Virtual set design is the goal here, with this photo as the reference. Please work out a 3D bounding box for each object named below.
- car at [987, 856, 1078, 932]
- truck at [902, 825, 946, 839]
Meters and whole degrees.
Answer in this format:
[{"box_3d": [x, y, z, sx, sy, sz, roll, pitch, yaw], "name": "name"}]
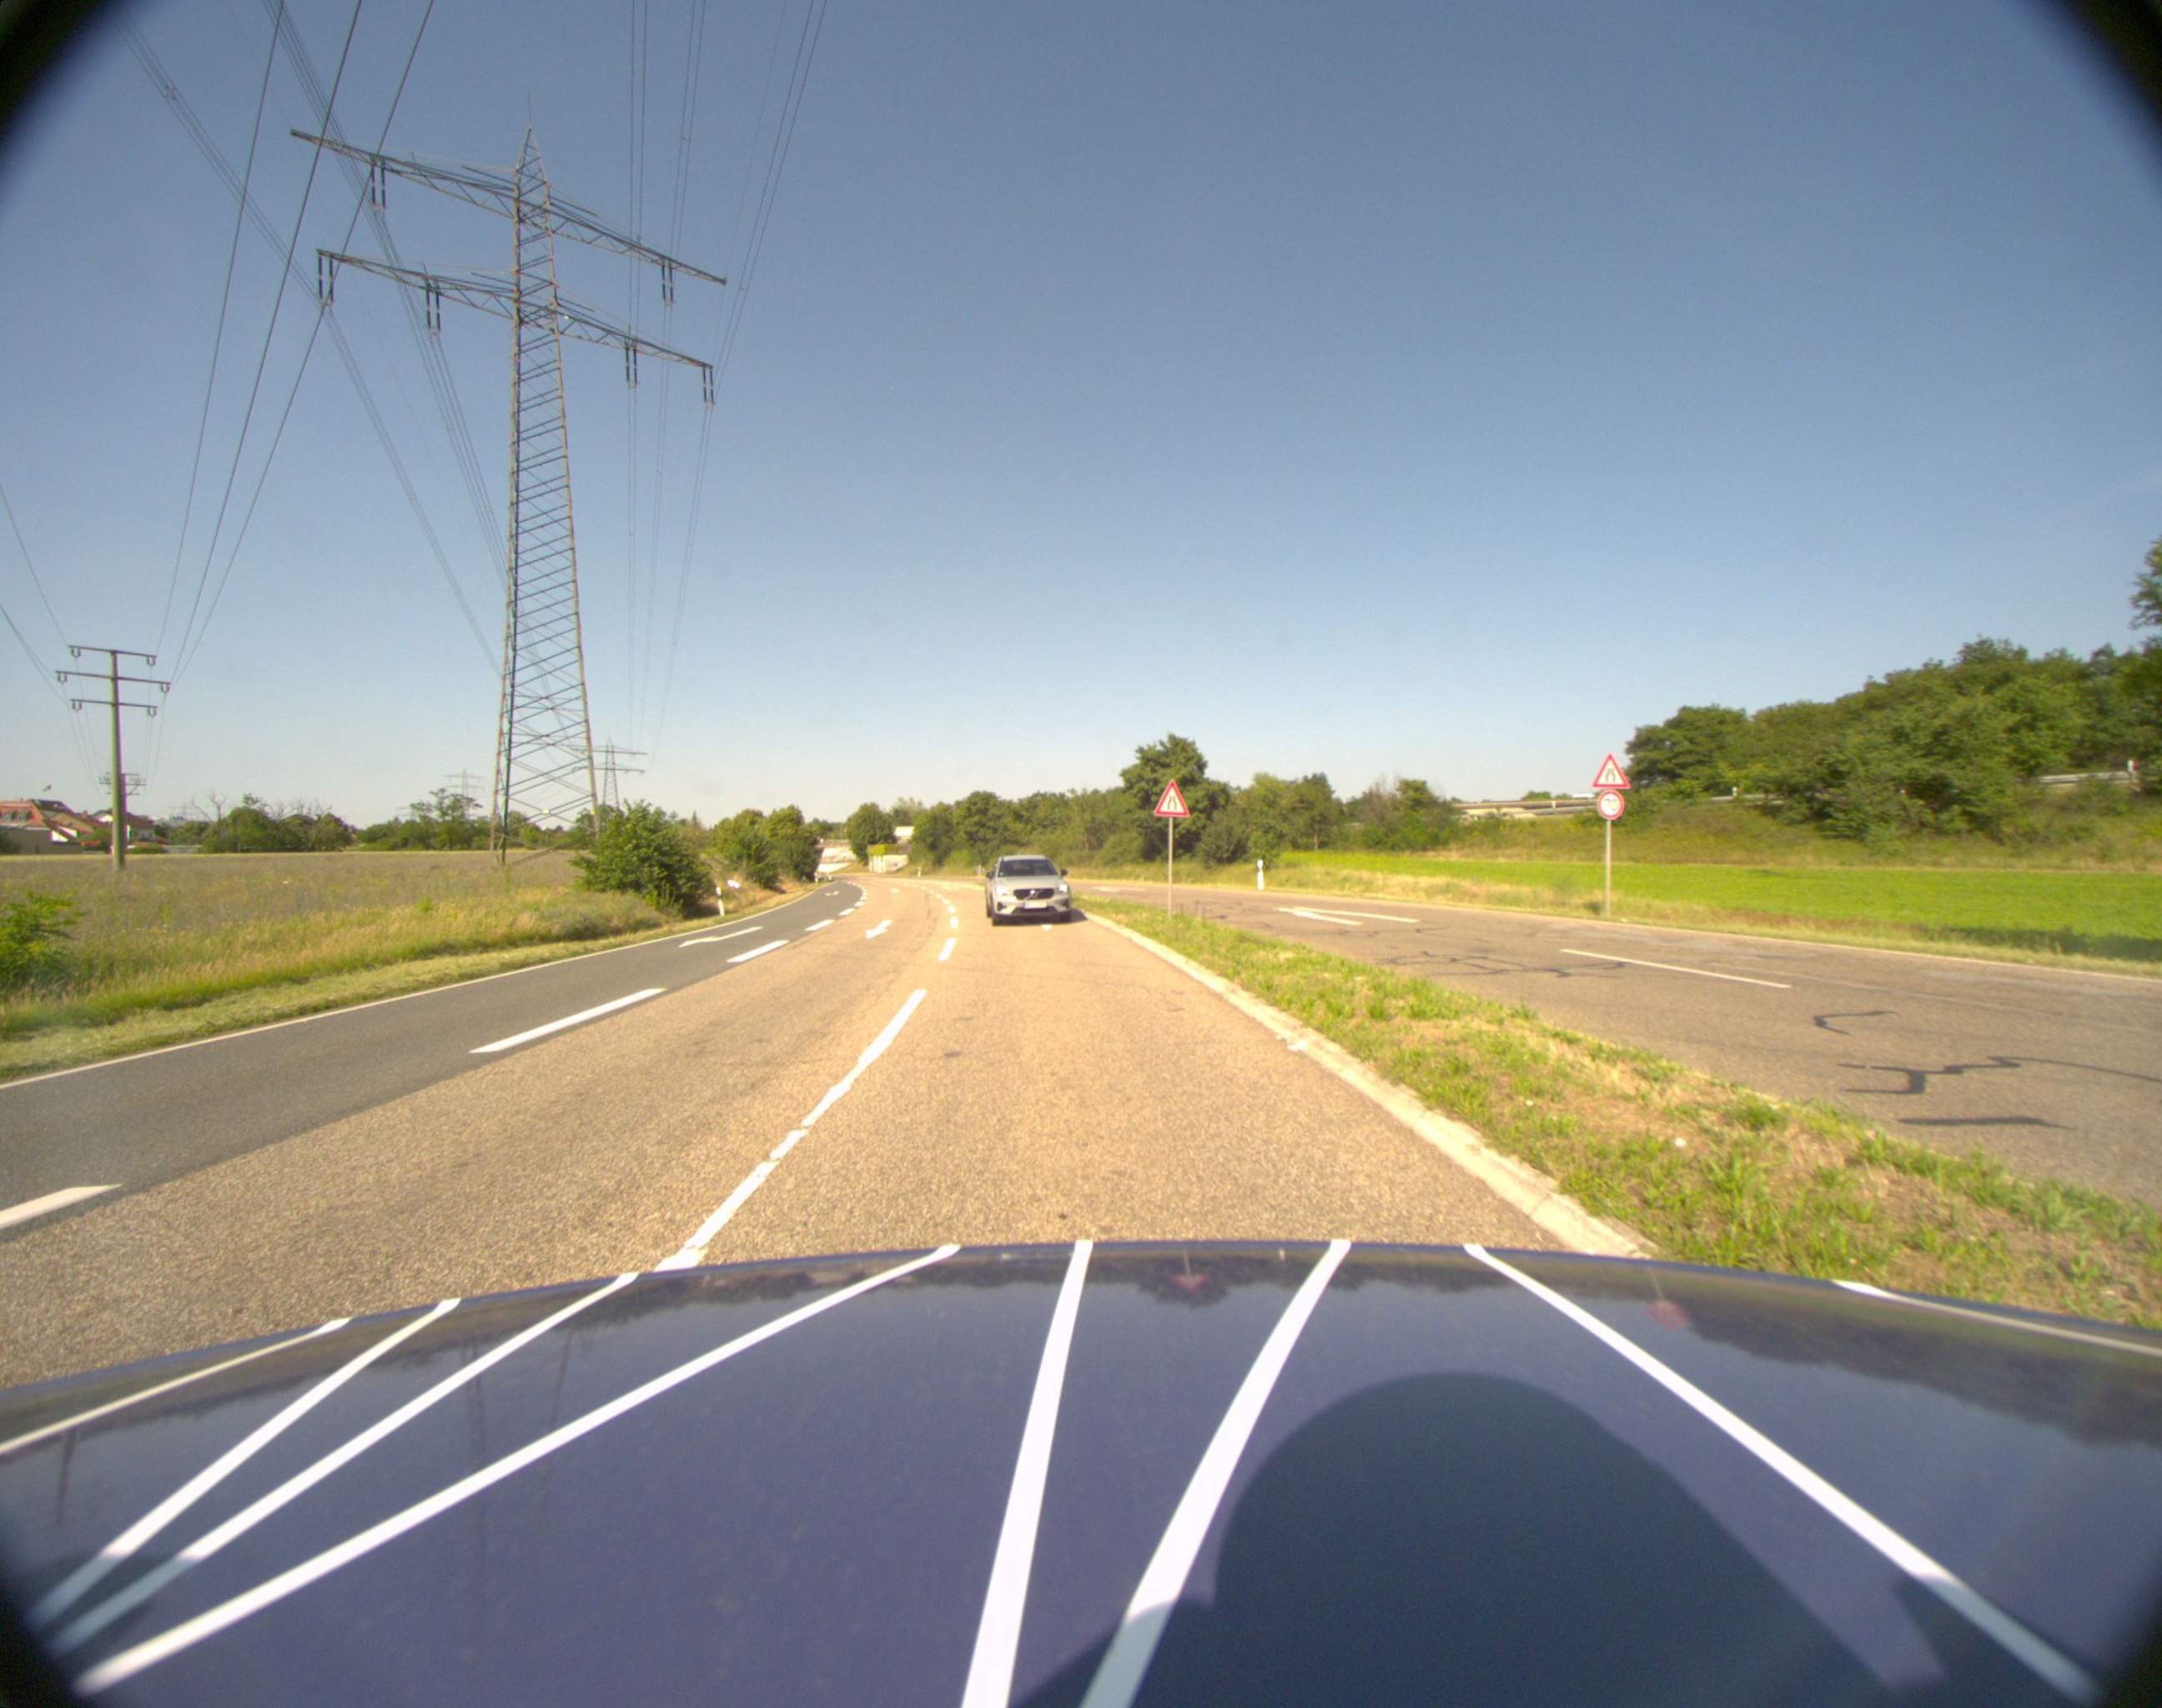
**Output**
[{"box_3d": [-1.299, 0.902, 18.736, 1.861, 1.609, 3.645, -2, 0, -9], "name": "car"}, {"box_3d": [-38.116, -5.341, 184.413, 10.136, 3.011, 2.379, -2, 1, 13], "name": "truck"}]
